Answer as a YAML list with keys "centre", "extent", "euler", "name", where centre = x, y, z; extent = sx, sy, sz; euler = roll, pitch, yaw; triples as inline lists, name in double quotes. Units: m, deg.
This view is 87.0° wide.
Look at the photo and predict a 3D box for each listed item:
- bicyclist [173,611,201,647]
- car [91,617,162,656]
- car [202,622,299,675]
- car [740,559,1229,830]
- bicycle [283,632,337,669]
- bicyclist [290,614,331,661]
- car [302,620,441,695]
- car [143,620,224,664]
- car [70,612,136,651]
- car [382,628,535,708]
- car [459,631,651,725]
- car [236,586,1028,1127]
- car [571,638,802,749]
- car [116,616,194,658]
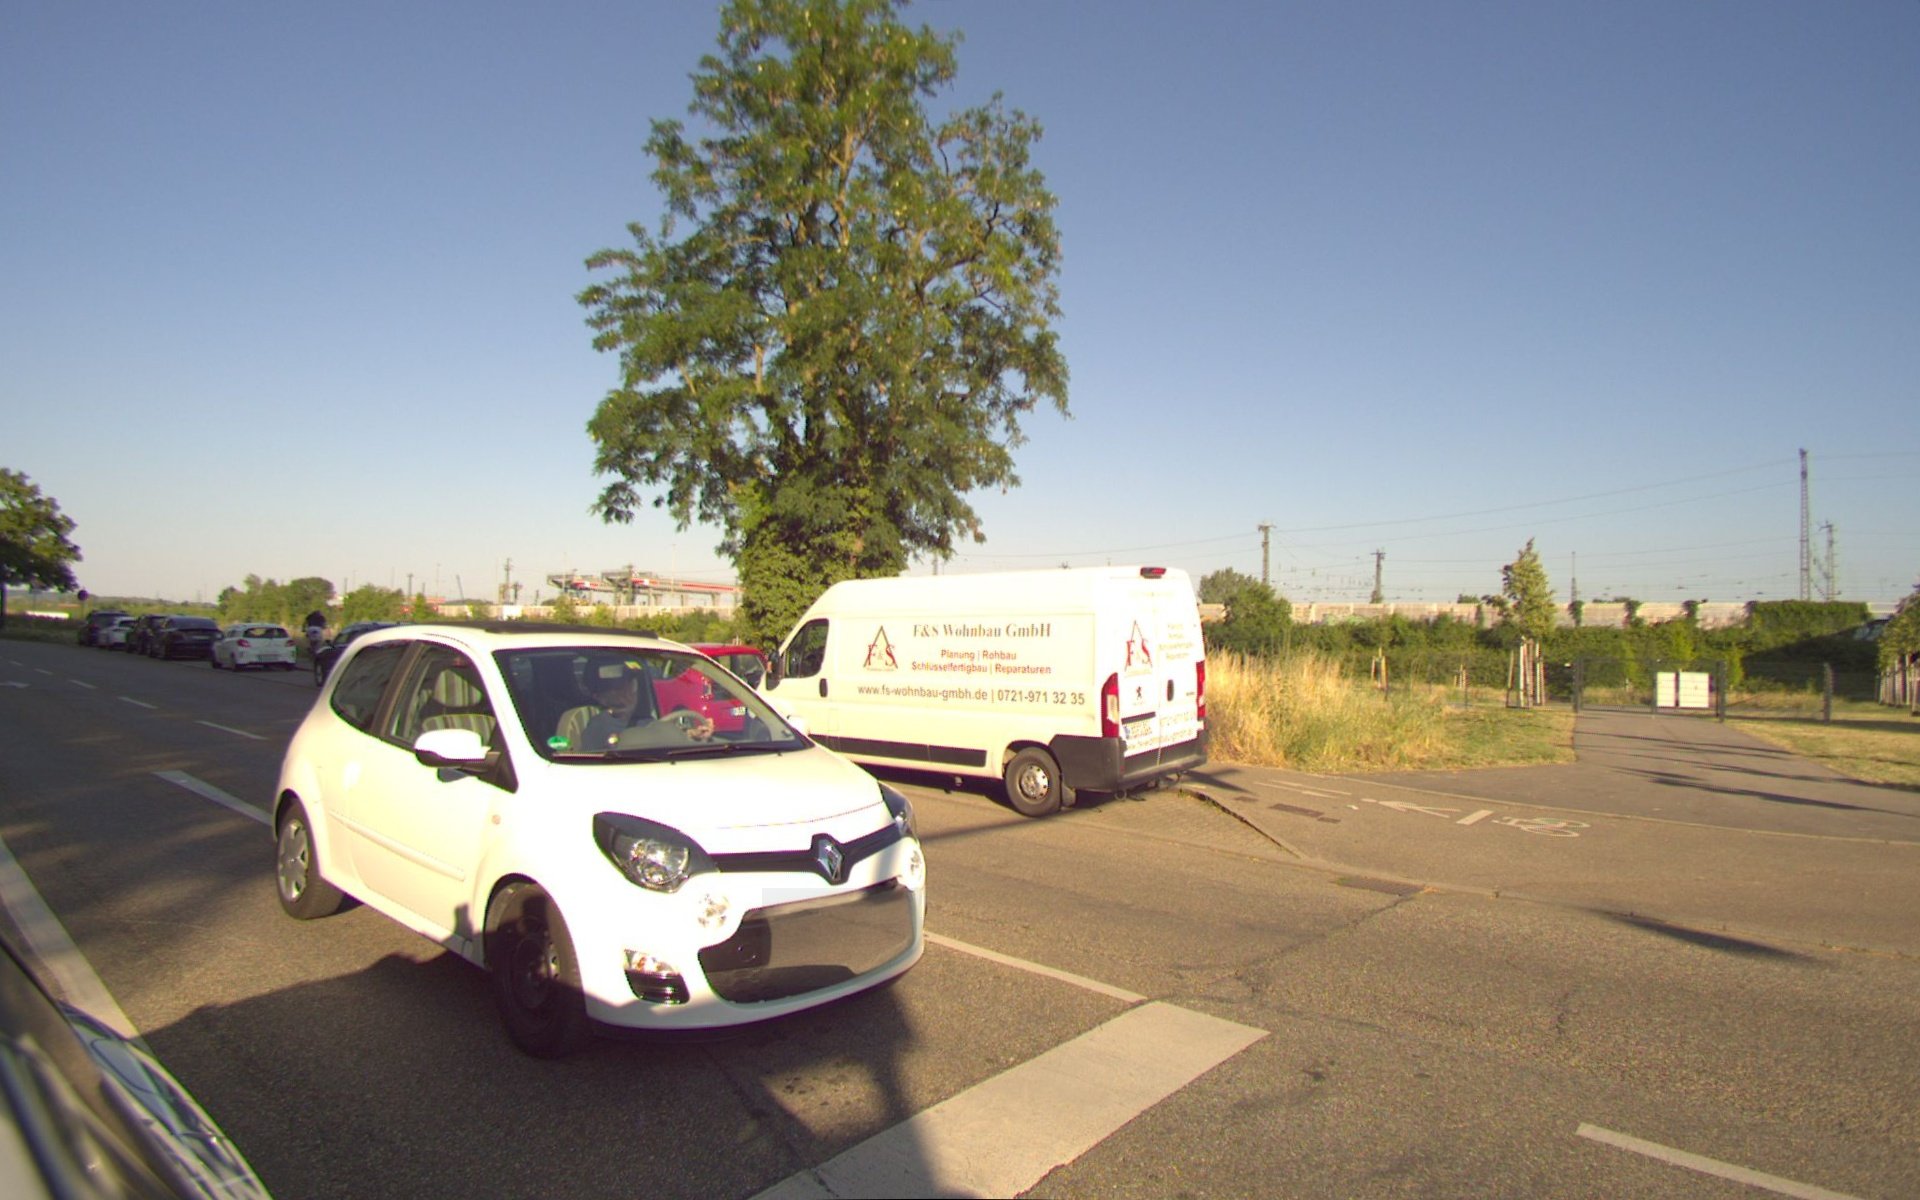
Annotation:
- centre: [-35.571, 1.352, 46.546]
  extent: [1.146, 1.609, 0.758]
  euler: [-1, -4, 43]
  name: "bicyclist"
- centre: [-37.383, 1.618, 45.339]
  extent: [4.219, 1.586, 1.799]
  euler: [-1, -4, 42]
  name: "car"
- centre: [-22.452, 1.523, 31.992]
  extent: [3.582, 1.538, 1.684]
  euler: [-1, -4, 42]
  name: "car"
- centre: [0.068, 0.877, 11.814]
  extent: [5.555, 2.455, 2.207]
  euler: [0, -1, 40]
  name: "car"
- centre: [-22.890, 1.774, 35.637]
  extent: [2.481, 1.197, 0.927]
  euler: [-1, -4, 42]
  name: "bicycle"
- centre: [-22.893, 1.313, 35.693]
  extent: [1.145, 1.609, 0.855]
  euler: [-1, -4, 41]
  name: "bicyclist"
- centre: [-14.479, 1.385, 24.827]
  extent: [4.003, 1.672, 1.642]
  euler: [-1, -4, 40]
  name: "car"
- centre: [-29.136, 1.551, 37.918]
  extent: [1.798, 1.538, 4.292]
  euler: [5, -4, -45]
  name: "car"
- centre: [-41.759, 1.524, 49.280]
  extent: [4.219, 1.789, 1.866]
  euler: [-1, -4, 43]
  name: "car"
- centre: [-10.893, 1.436, 21.914]
  extent: [3.577, 1.541, 1.642]
  euler: [-1, -4, 40]
  name: "car"
- centre: [-7.673, 1.412, 19.039]
  extent: [3.814, 1.541, 1.723]
  euler: [-1, -4, 40]
  name: "car"
- centre: [-1.718, 0.764, 4.670]
  extent: [3.772, 1.480, 1.683]
  euler: [-1, -4, 40]
  name: "car"
- centre: [-4.419, 1.418, 16.122]
  extent: [3.692, 1.498, 1.723]
  euler: [-1, -4, 40]
  name: "car"
- centre: [-33.291, 1.513, 41.834]
  extent: [4.219, 1.650, 1.799]
  euler: [-1, -4, 42]
  name: "car"
